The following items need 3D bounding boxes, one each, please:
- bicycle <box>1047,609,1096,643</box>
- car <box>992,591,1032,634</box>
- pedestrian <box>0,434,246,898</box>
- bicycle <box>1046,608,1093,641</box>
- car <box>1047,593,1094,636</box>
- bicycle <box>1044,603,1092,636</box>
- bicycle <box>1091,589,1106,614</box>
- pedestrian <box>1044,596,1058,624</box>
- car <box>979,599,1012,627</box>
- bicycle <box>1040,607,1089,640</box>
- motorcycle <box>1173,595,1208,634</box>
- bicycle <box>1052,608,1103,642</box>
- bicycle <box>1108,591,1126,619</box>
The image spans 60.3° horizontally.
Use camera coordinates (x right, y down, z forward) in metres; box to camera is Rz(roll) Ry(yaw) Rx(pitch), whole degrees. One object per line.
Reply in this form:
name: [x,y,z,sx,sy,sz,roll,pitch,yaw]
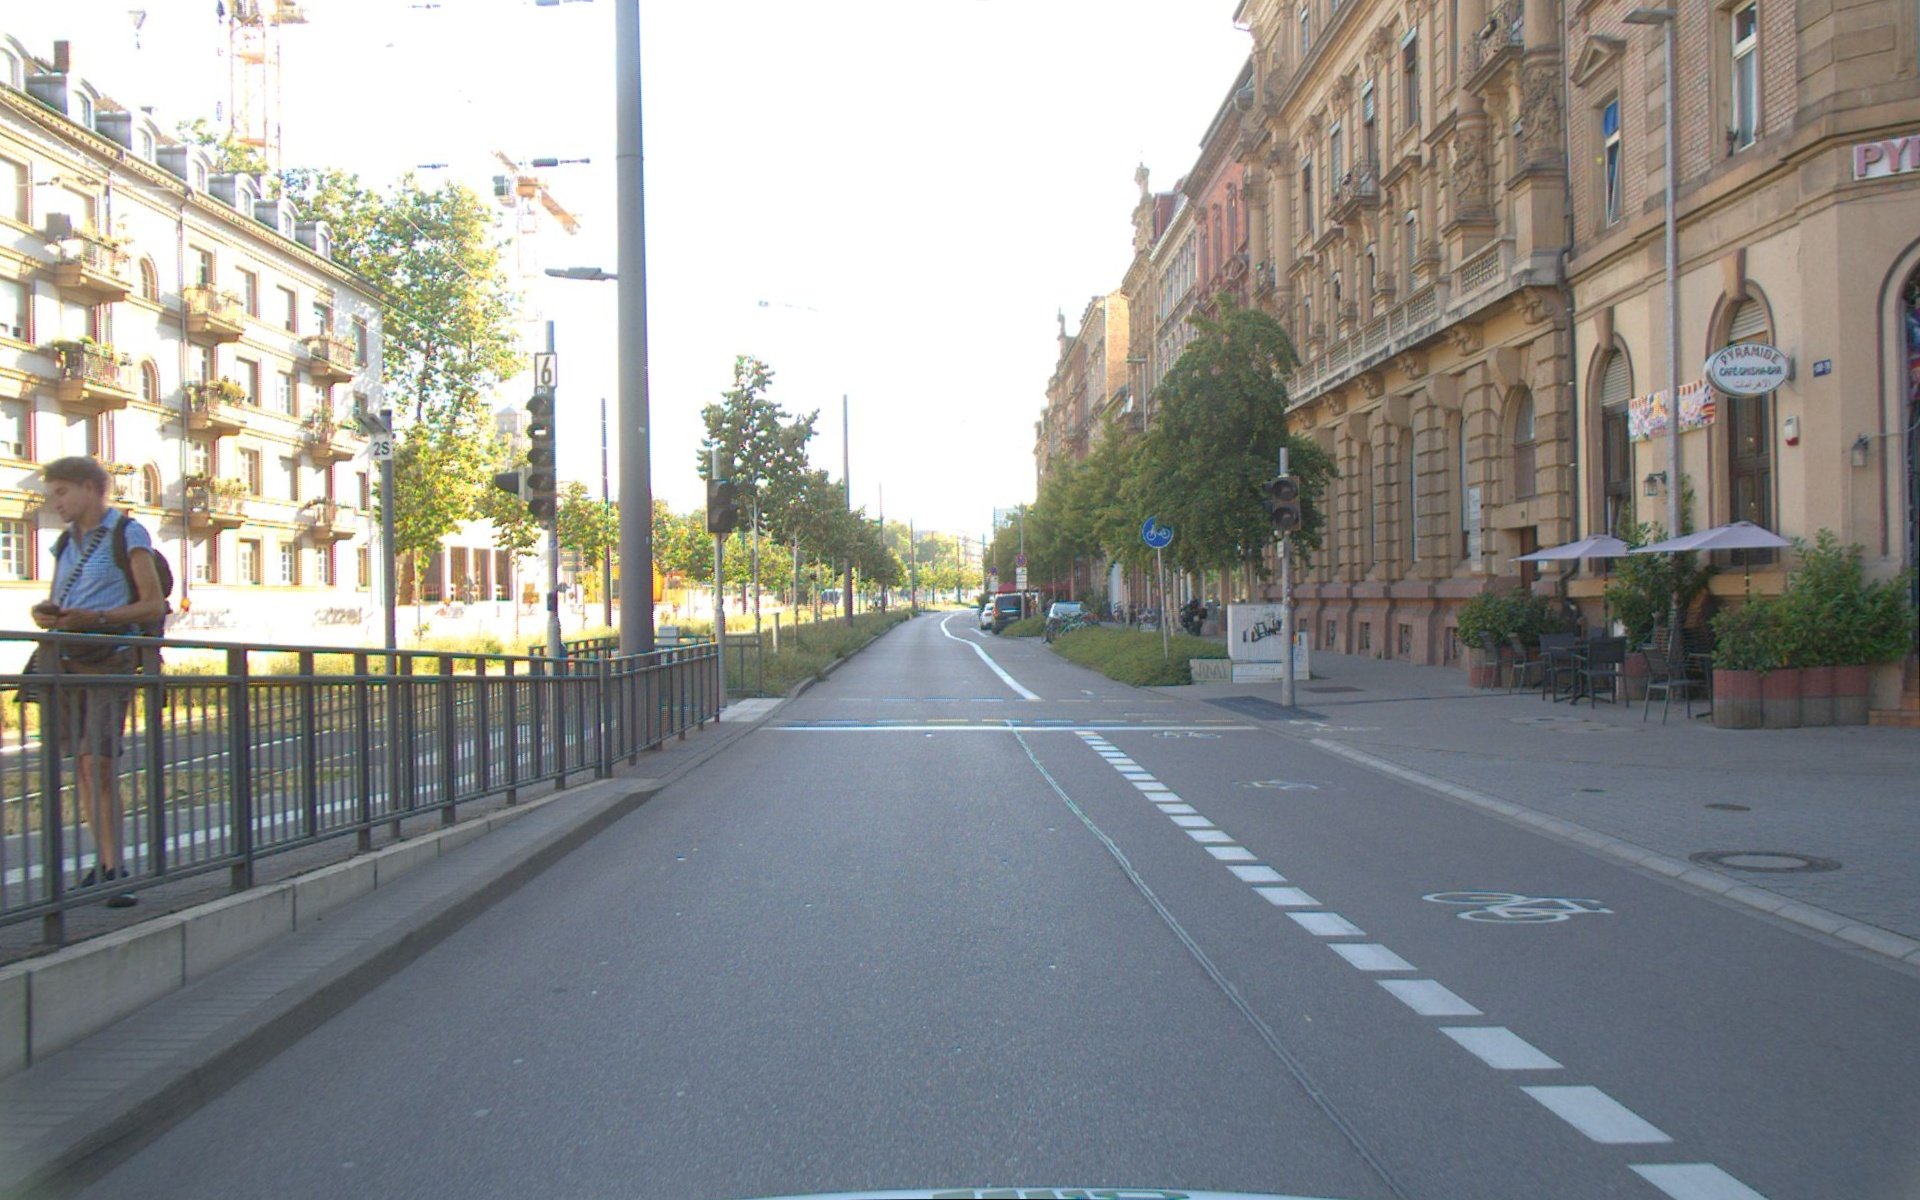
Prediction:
bicycle: [3.775,0.886,56.081,1.547,1.066,0.488,-3,0,-9]
car: [2.543,0.585,82.477,1.846,1.971,4.473,-1,1,0]
pedestrian: [-3.274,0.244,6.420,0.641,1.671,0.867,-1,-1,-1]
bicycle: [3.824,0.853,57.910,1.547,1.066,0.488,-3,0,-9]
car: [4.390,0.540,66.065,1.603,1.511,4.213,-3,1,1]
bicycle: [3.933,0.694,60.368,1.657,1.066,0.489,-5,0,-1]
bicycle: [8.422,0.073,100.457,0.647,1.427,2.351,-1,1,-2]
pedestrian: [4.751,0.518,86.332,0.612,1.485,0.638,-1,0,-1]
car: [2.021,0.712,95.742,1.811,1.483,4.157,-1,1,0]
bicycle: [3.723,0.832,59.030,1.657,1.066,0.489,-4,0,-1]
motorcycle: [8.489,0.515,60.973,0.779,1.331,2.851,-3,1,-1]
bicycle: [4.064,0.856,57.378,1.660,1.066,0.488,-3,0,-9]
bicycle: [8.471,0.273,89.079,0.647,1.427,2.351,-1,1,-2]
